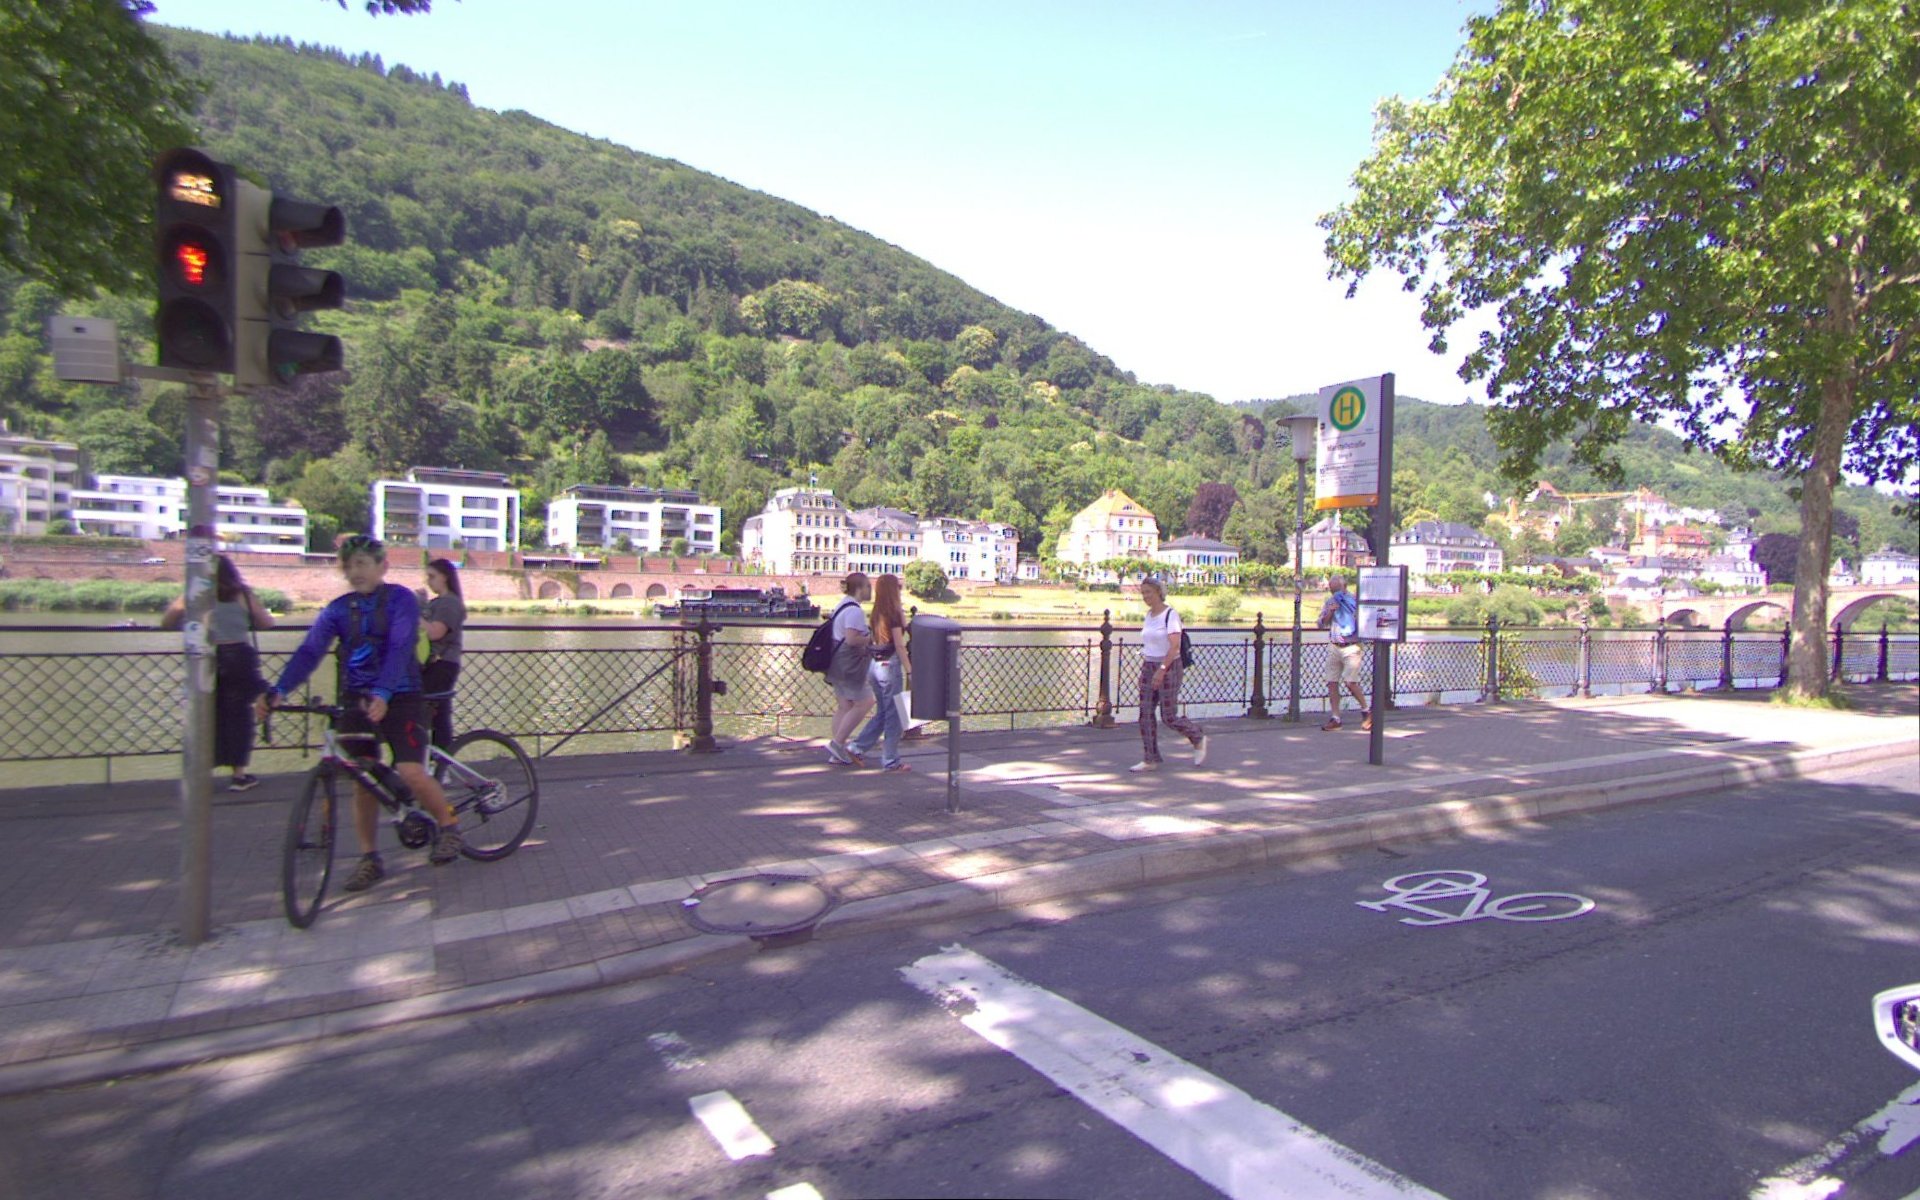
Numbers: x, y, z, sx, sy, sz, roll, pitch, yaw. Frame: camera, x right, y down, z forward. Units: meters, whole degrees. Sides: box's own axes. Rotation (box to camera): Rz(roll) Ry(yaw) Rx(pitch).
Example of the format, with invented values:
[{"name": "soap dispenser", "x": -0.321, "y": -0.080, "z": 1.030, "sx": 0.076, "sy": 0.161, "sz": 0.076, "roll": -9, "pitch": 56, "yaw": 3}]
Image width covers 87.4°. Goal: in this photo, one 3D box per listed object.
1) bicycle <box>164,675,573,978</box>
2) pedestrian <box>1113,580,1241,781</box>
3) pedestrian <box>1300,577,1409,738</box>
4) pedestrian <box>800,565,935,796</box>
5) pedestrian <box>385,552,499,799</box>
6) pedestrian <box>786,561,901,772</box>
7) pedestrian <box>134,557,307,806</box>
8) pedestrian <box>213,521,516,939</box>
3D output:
[{"name": "bicycle", "x": -2.790, "y": 0.999, "z": 5.042, "sx": 0.727, "sy": 0.938, "sz": 1.831, "roll": 2, "pitch": 5, "yaw": 10}, {"name": "pedestrian", "x": 1.875, "y": 0.665, "z": 8.677, "sx": 0.980, "sy": 1.639, "sz": 0.491, "roll": 1, "pitch": 1, "yaw": -31}, {"name": "pedestrian", "x": 4.581, "y": 0.641, "z": 11.664, "sx": 0.961, "sy": 1.787, "sz": 0.708, "roll": 1, "pitch": 1, "yaw": -31}, {"name": "pedestrian", "x": -0.759, "y": 0.605, "z": 8.089, "sx": 0.773, "sy": 1.736, "sz": 0.831, "roll": 1, "pitch": 1, "yaw": -31}, {"name": "pedestrian", "x": -3.827, "y": 0.523, "z": 7.410, "sx": 0.688, "sy": 1.723, "sz": 0.615, "roll": 1, "pitch": 1, "yaw": -31}, {"name": "pedestrian", "x": -1.017, "y": 0.553, "z": 8.721, "sx": 0.784, "sy": 1.736, "sz": 0.649, "roll": 1, "pitch": 0, "yaw": -31}, {"name": "pedestrian", "x": -5.143, "y": 0.537, "z": 7.037, "sx": 0.900, "sy": 1.630, "sz": 0.546, "roll": 1, "pitch": 3, "yaw": -31}, {"name": "pedestrian", "x": -2.844, "y": 0.557, "z": 4.906, "sx": 0.753, "sy": 1.796, "sz": 1.025, "roll": 1, "pitch": 0, "yaw": 10}]
